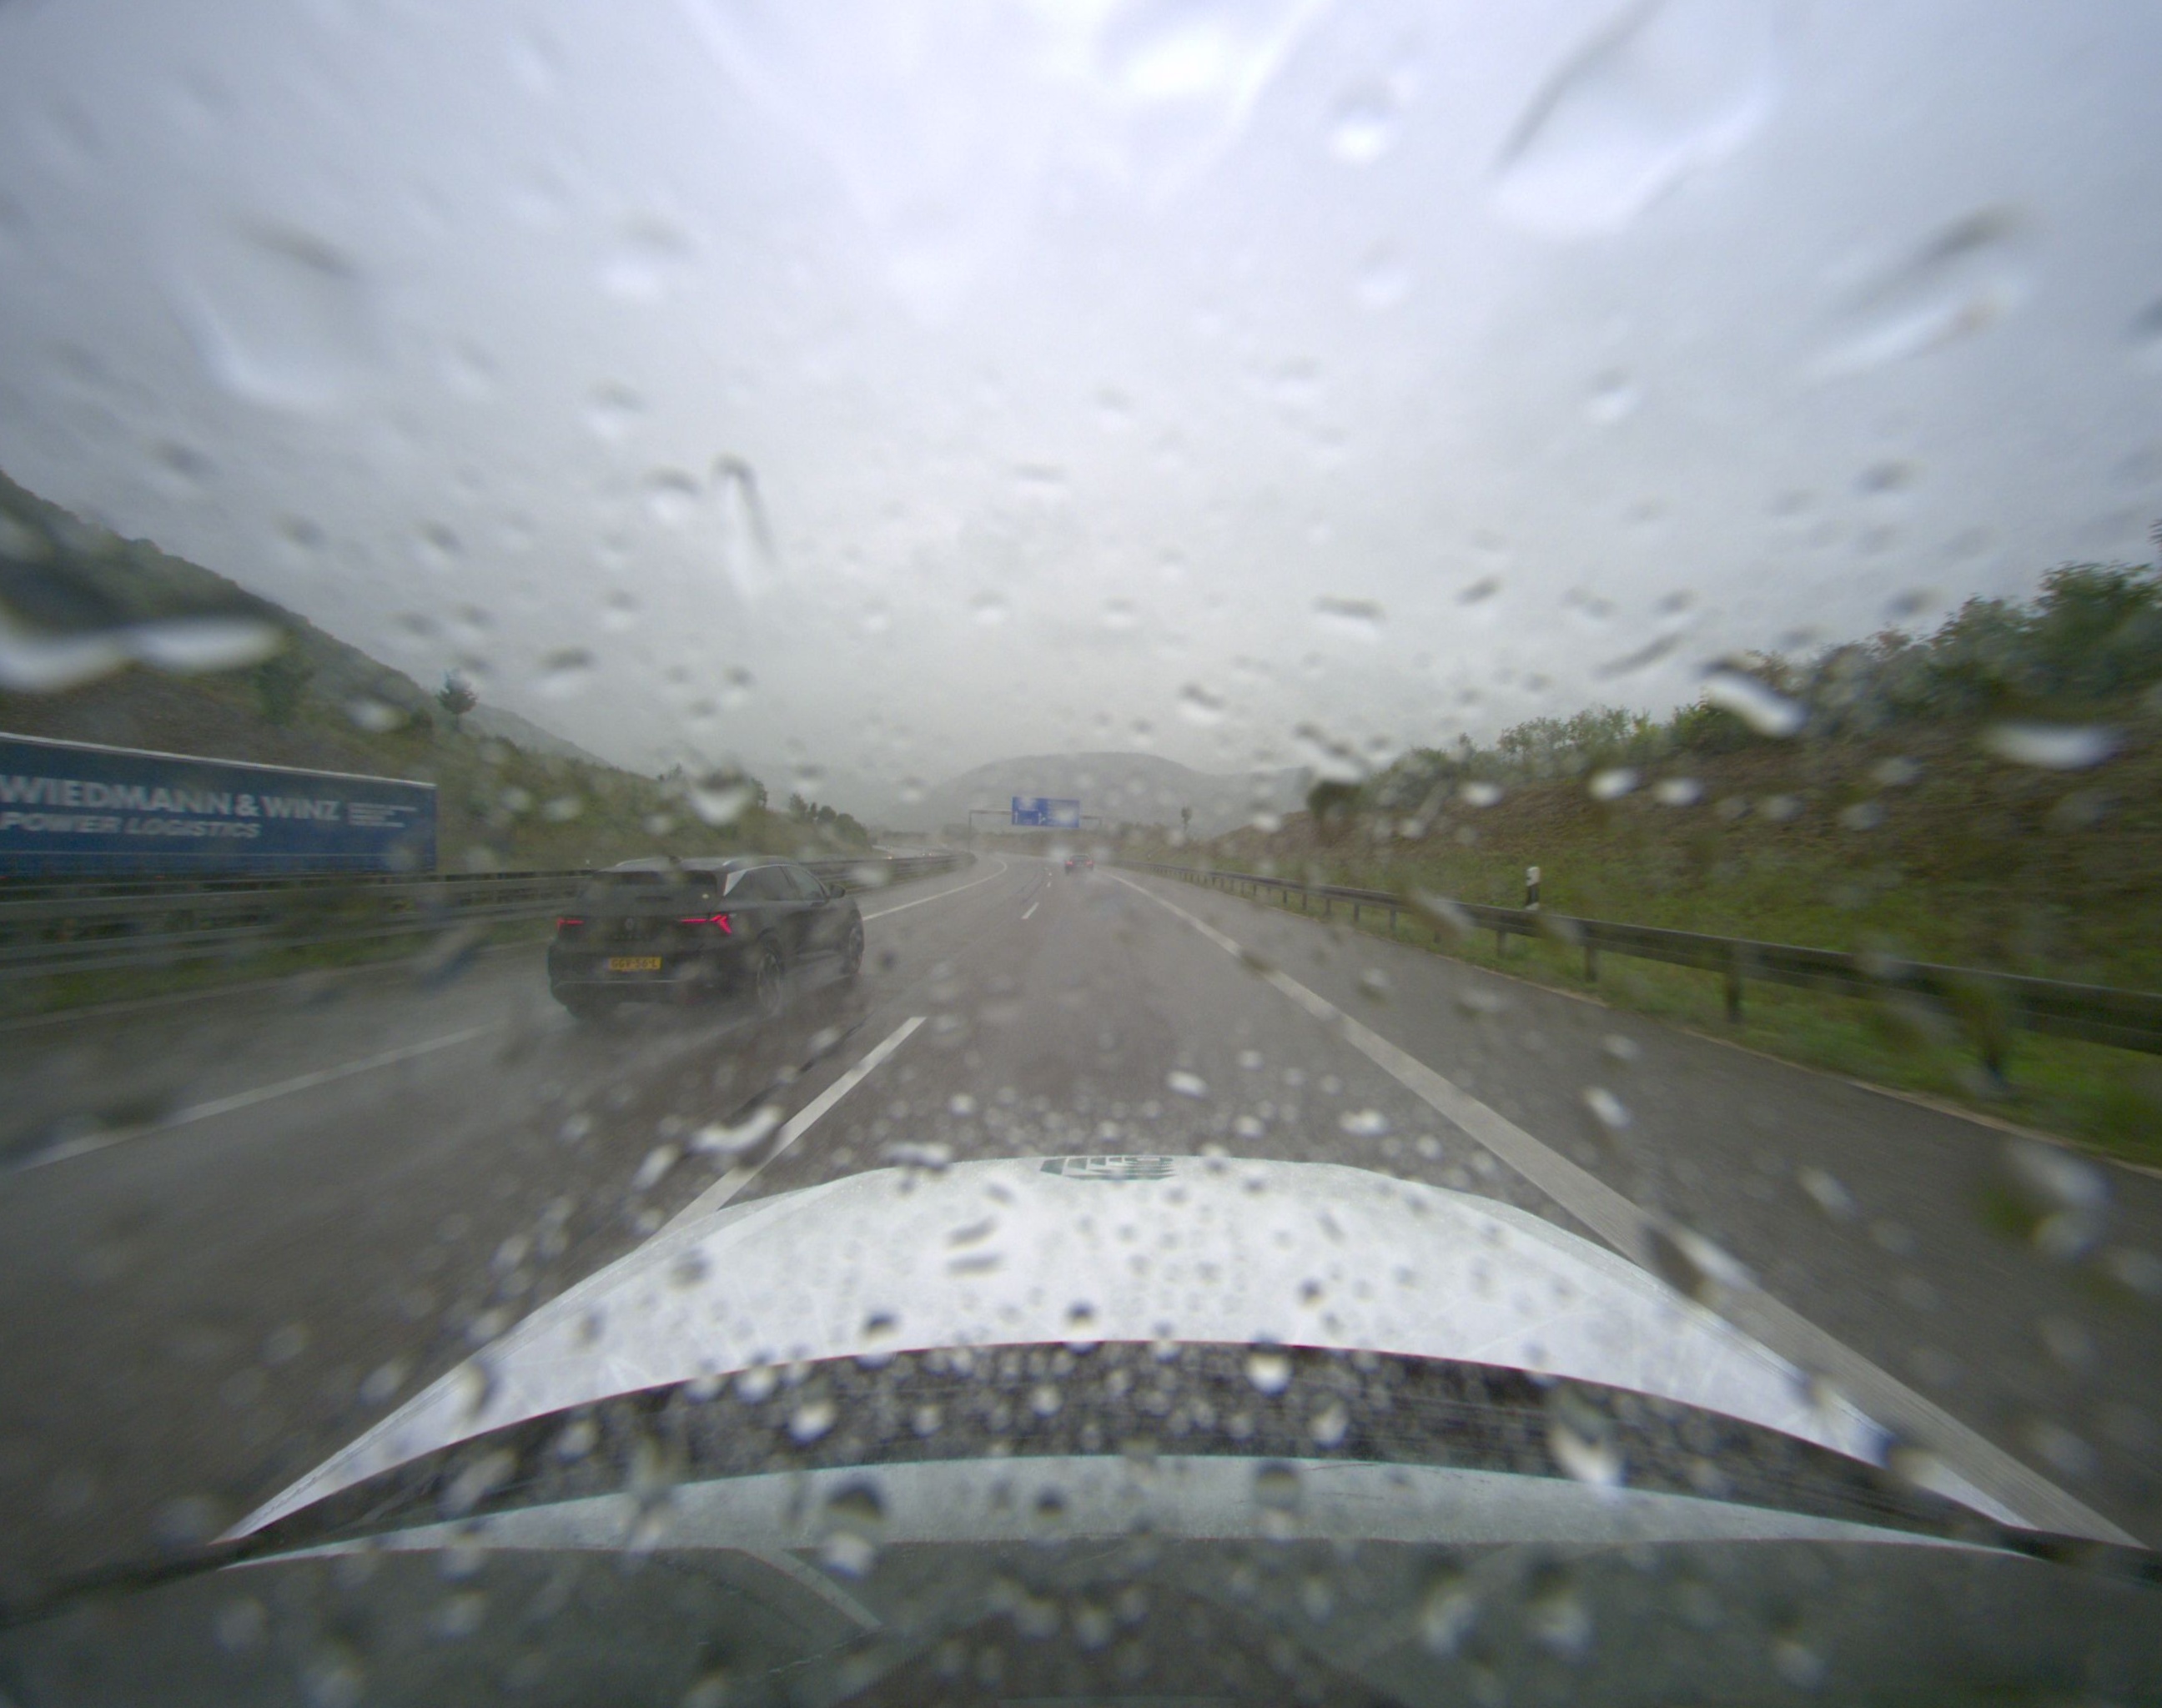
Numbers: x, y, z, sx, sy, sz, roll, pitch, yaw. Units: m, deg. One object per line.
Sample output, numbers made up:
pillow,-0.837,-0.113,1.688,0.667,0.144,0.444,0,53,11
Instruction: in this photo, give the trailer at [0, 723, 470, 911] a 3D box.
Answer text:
trailer,-22.535,-0.716,21.449,2.804,3.681,13.246,0,0,0

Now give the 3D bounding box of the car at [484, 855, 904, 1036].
car,-3.811,0.779,9.312,2.397,1.515,4.785,1,0,1

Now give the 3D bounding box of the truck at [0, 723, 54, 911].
truck,-22.559,-0.714,13.659,2.771,3.683,6.206,0,0,0

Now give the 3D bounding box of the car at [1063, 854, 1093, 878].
car,-0.216,0.740,52.327,1.676,1.472,3.809,1,0,-4
